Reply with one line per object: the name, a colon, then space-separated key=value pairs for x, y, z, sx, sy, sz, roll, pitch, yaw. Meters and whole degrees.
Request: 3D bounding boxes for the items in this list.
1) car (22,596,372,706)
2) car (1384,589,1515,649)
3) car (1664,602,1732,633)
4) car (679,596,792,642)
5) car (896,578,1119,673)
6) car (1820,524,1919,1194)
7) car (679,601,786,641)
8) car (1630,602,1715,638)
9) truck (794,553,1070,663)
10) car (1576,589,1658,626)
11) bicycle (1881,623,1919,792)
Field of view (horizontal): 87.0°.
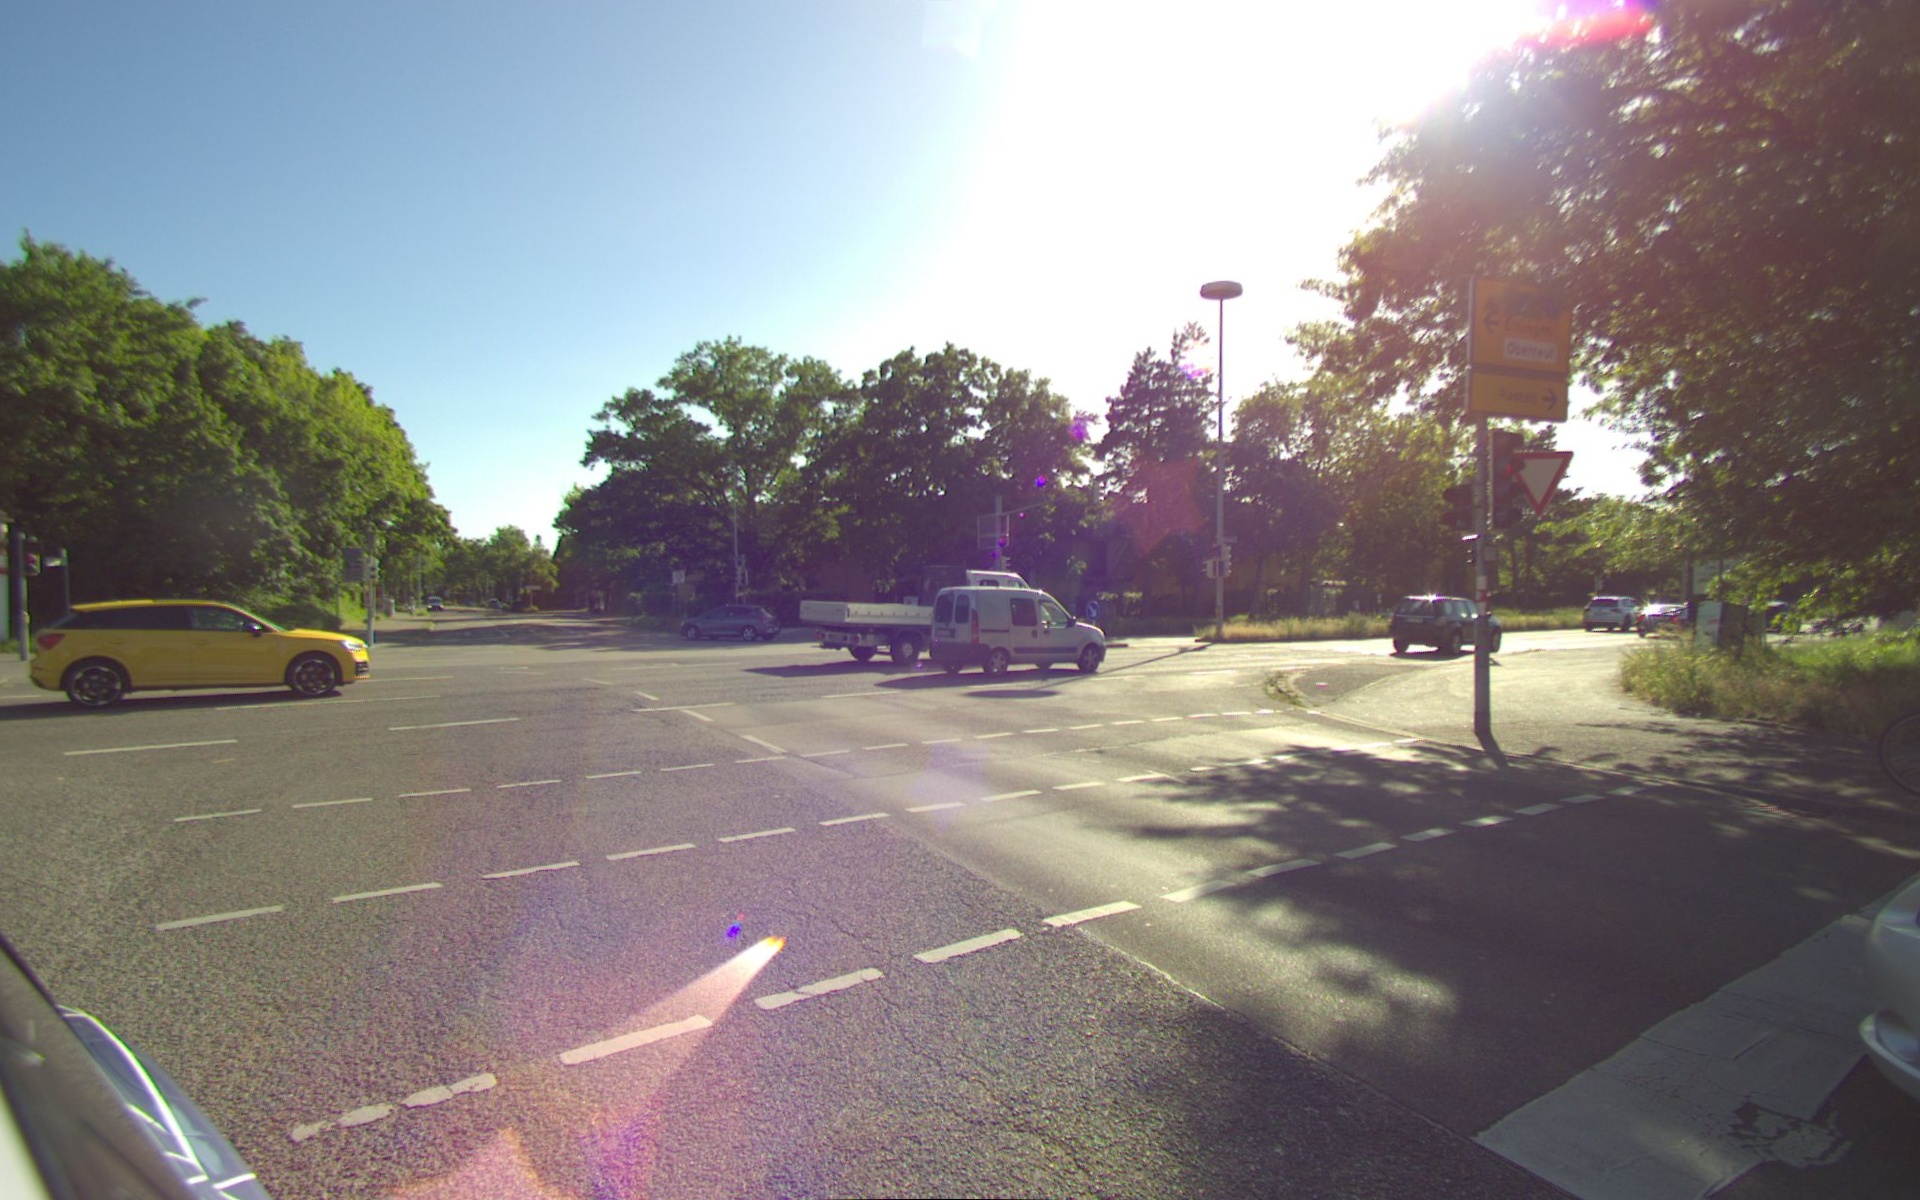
car: x=-11.378 y=0.689 z=15.366 sx=4.054 sy=1.451 sz=1.696 roll=0 pitch=0 yaw=-38
car: x=15.100 y=0.555 z=31.124 sx=4.320 sy=1.696 sz=1.832 roll=0 pitch=0 yaw=-37
car: x=41.756 y=0.962 z=57.231 sx=4.294 sy=1.665 sz=1.921 roll=0 pitch=2 yaw=-38
car: x=-8.988 y=0.738 z=40.693 sx=4.058 sy=1.665 sz=1.804 roll=2 pitch=1 yaw=9
car: x=1.036 y=0.480 z=20.915 sx=4.292 sy=1.741 sz=1.926 roll=1 pitch=2 yaw=-35
car: x=3.986 y=0.582 z=0.660 sx=1.811 sy=1.500 sz=4.906 roll=1 pitch=-1 yaw=-27
car: x=-9.141 y=0.823 z=40.724 sx=3.850 sy=1.409 sz=1.635 roll=2 pitch=1 yaw=11
car: x=30.755 y=0.824 z=43.661 sx=4.295 sy=1.405 sz=1.846 roll=0 pitch=2 yaw=-39
truck: x=-0.510 y=0.180 z=24.333 sx=6.665 sy=2.327 sz=2.196 roll=0 pitch=-1 yaw=-38
car: x=32.093 y=0.357 z=49.407 sx=4.293 sy=1.665 sz=1.954 roll=0 pitch=2 yaw=-36
bicycle: x=7.235 y=0.739 z=6.389 sx=0.520 sy=1.150 sz=2.032 roll=0 pitch=0 yaw=-31
